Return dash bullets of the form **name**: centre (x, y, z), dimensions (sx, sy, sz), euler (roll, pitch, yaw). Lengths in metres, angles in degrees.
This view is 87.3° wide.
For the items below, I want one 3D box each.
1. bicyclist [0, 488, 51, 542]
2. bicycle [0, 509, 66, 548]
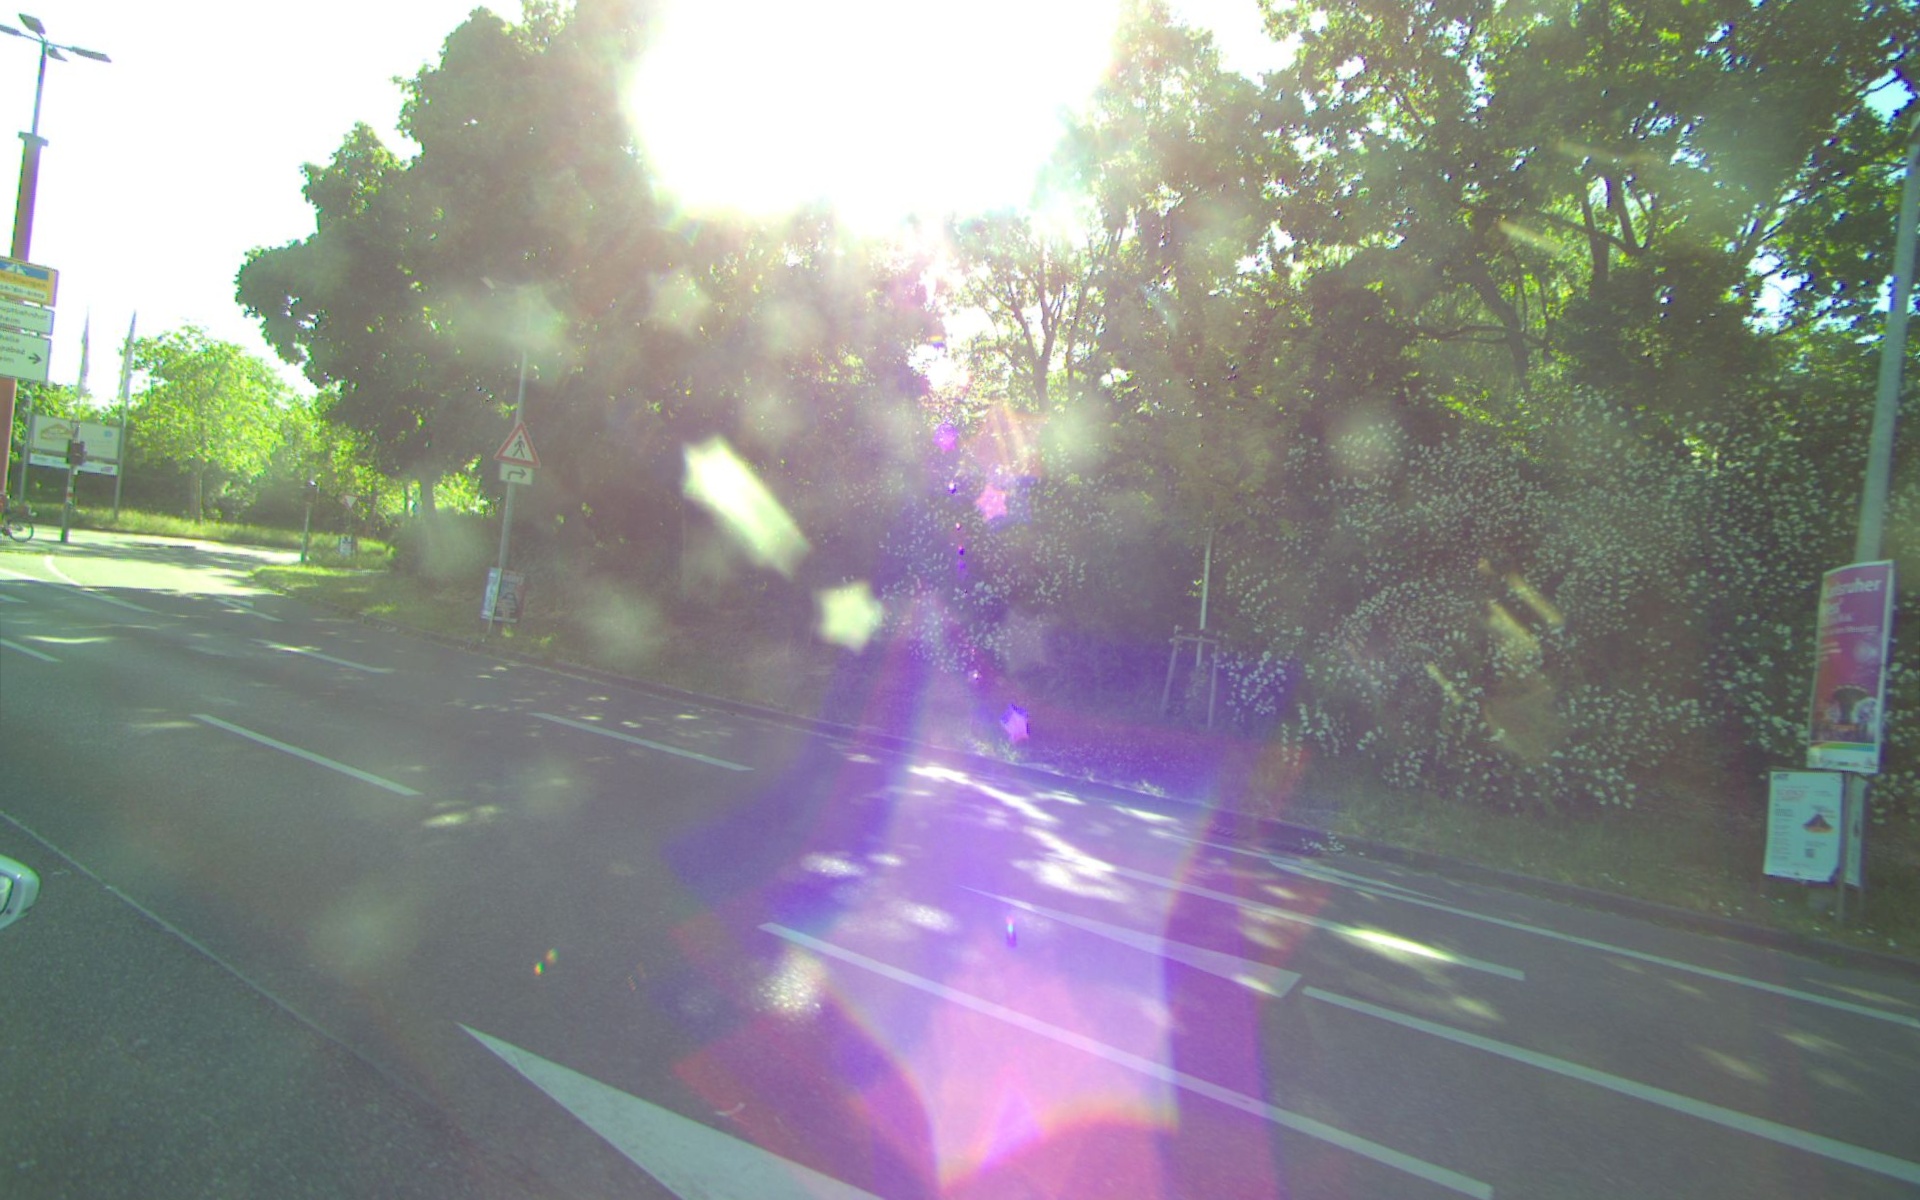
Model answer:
- **bicyclist**: centre (-26.583, -2.403, 28.564), dimensions (0.694, 1.357, 0.742), euler (7, -1, 5)
- **bicycle**: centre (-26.648, -2.048, 28.395), dimensions (0.549, 0.889, 2.171), euler (7, -2, 10)
